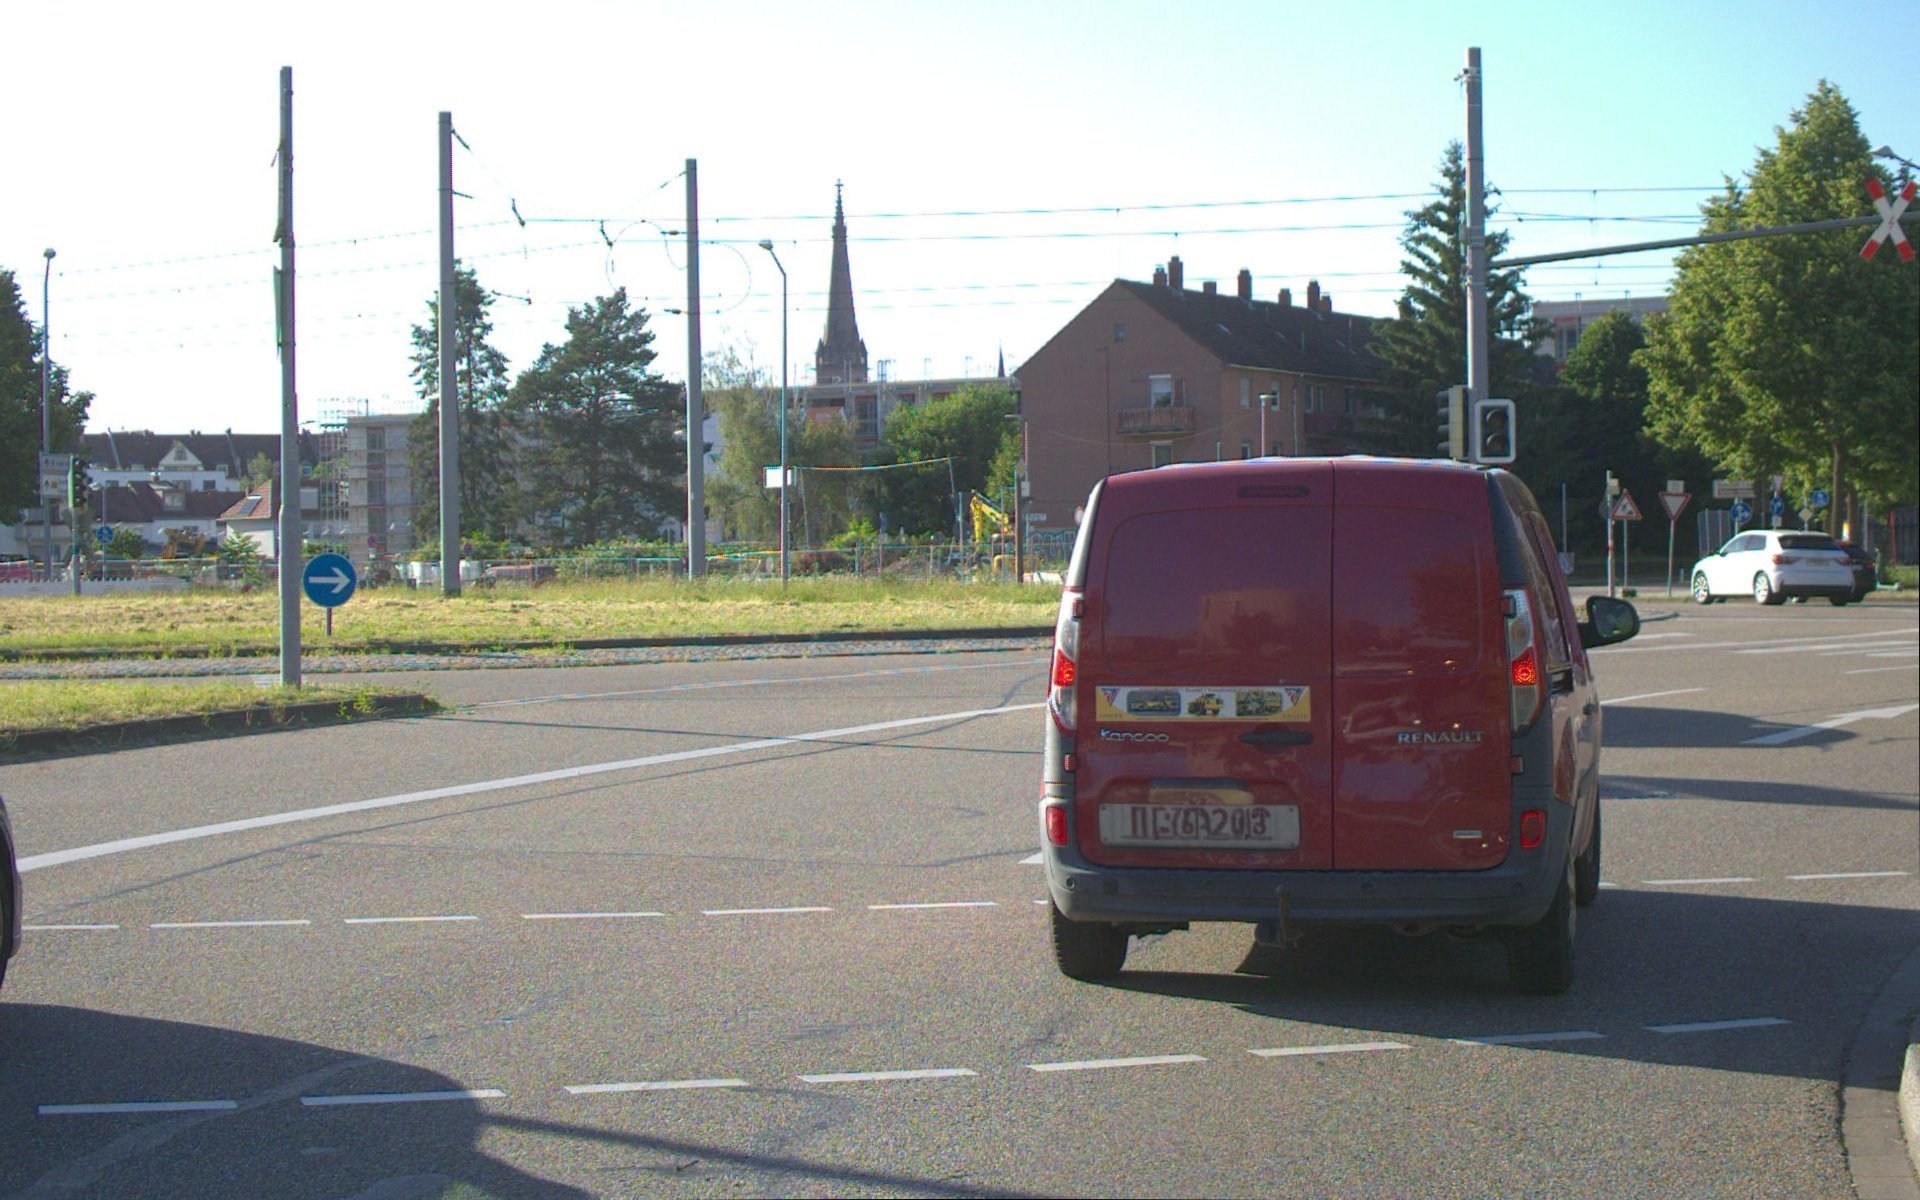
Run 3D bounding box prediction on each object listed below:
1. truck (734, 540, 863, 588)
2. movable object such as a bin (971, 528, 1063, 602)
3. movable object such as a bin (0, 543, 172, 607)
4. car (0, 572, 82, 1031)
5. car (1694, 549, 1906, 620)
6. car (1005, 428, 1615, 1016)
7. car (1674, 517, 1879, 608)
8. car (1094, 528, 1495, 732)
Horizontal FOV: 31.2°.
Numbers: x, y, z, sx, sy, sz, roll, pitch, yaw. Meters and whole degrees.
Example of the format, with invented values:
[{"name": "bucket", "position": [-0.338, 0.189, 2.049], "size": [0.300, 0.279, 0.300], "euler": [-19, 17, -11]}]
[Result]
[{"name": "truck", "position": [-7.088, -1.554, 150.160], "size": [2.165, 2.007, 6.433], "euler": [1, 0, -40]}, {"name": "movable object such as a bin", "position": [2.175, -1.324, 132.656], "size": [2.418, 2.764, 4.001], "euler": [1, 0, -17]}, {"name": "movable object such as a bin", "position": [-39.475, -1.128, 153.447], "size": [7.909, 2.773, 2.942], "euler": [-1, 1, -40]}, {"name": "car", "position": [-4.032, 0.619, 8.889], "size": [1.761, 1.375, 4.357], "euler": [0, 1, 10]}, {"name": "car", "position": [18.926, -0.363, 77.587], "size": [1.994, 1.534, 4.407], "euler": [-2, 1, -36]}, {"name": "car", "position": [1.438, 0.343, 12.680], "size": [1.803, 1.807, 3.807], "euler": [1, 1, 12]}, {"name": "car", "position": [15.426, -0.722, 65.207], "size": [1.993, 1.633, 4.409], "euler": [-1, 1, -13]}, {"name": "car", "position": [2.691, 0.206, 26.898], "size": [1.805, 1.456, 3.803], "euler": [1, 1, 28]}]
